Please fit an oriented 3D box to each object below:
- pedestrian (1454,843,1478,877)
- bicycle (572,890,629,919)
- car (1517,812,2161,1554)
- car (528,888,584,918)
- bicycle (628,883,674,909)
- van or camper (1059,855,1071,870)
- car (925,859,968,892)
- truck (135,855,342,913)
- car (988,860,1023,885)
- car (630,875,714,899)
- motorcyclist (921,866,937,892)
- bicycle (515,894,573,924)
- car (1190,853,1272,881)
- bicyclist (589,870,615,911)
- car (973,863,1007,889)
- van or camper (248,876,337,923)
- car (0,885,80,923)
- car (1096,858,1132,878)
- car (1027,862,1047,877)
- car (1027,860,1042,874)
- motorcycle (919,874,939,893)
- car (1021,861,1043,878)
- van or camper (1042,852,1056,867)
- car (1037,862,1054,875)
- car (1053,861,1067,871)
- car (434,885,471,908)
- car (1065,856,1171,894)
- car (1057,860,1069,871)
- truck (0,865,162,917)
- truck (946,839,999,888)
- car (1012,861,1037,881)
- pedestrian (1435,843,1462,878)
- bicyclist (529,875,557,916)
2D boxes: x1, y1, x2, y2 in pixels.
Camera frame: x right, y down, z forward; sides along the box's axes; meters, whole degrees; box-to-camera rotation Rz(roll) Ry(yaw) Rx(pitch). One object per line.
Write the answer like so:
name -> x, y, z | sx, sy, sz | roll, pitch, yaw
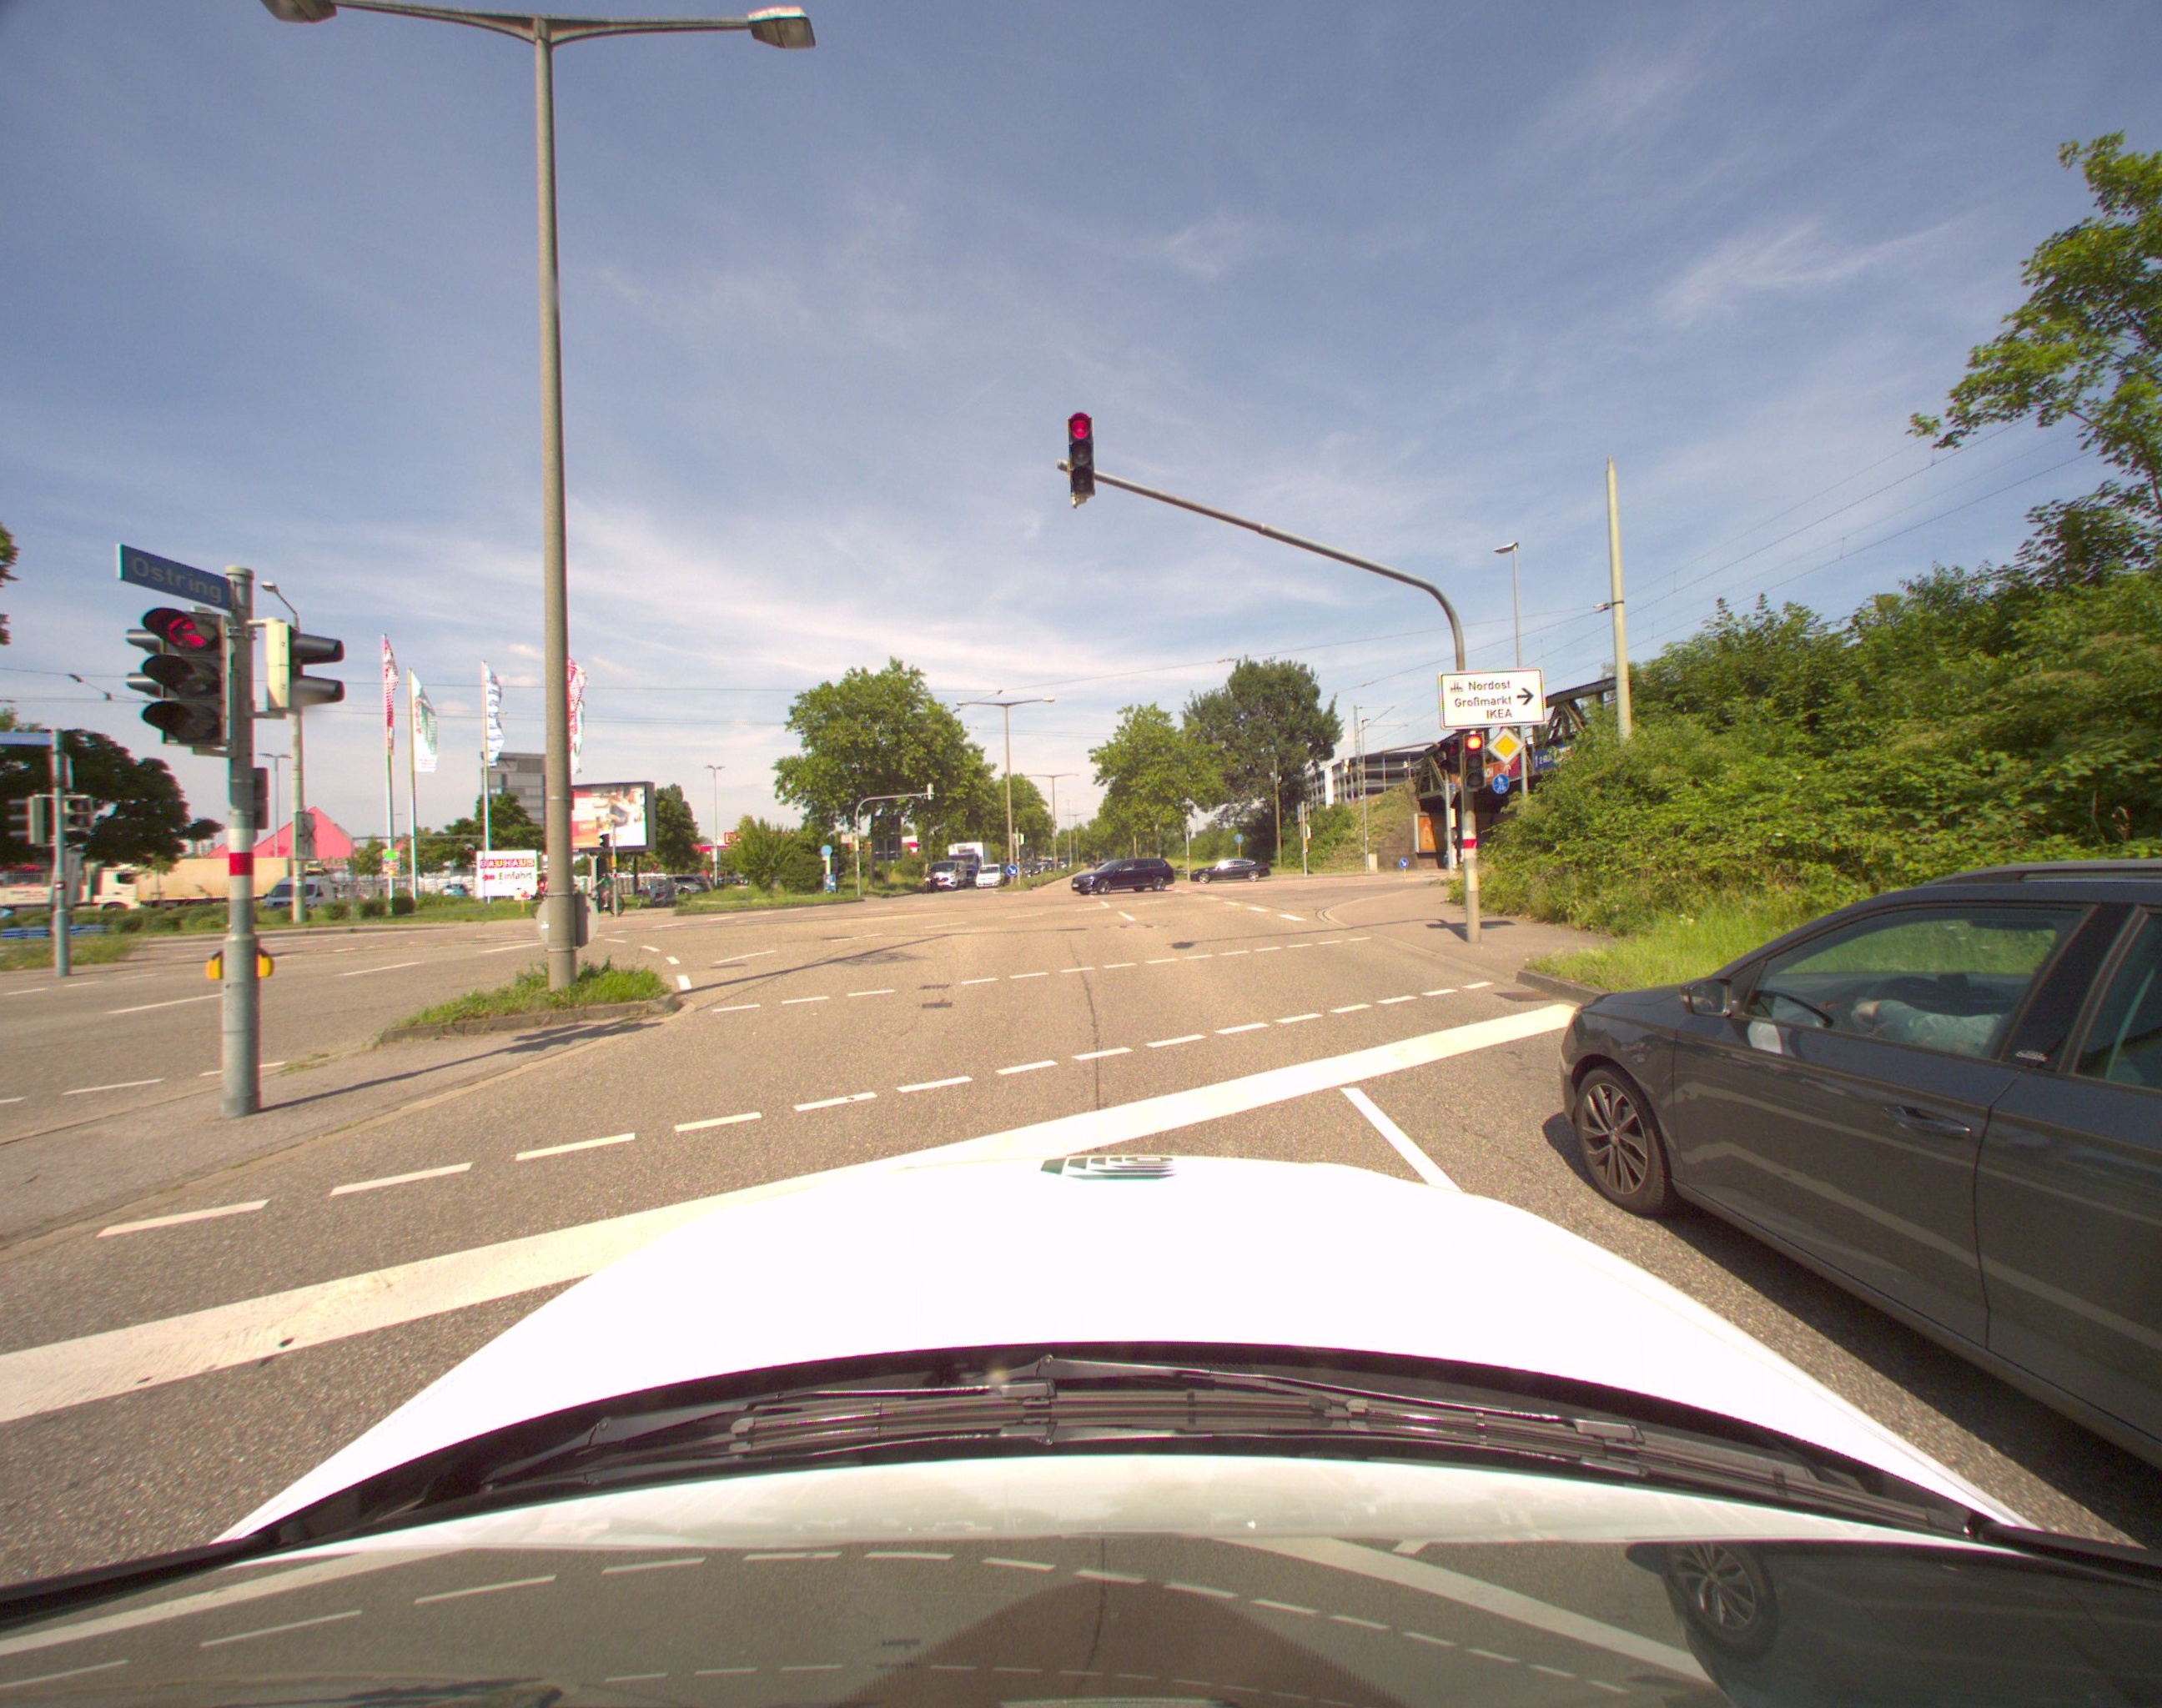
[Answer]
pedestrian -> 18.409, 0.273, 38.984 | 0.726, 1.579, 0.778 | -2, -1, 1
bicycle -> -17.856, 1.873, 30.322 | 0.412, 0.937, 2.007 | -2, -1, 18
car -> 2.964, 0.637, 2.083 | 1.667, 1.453, 4.038 | -1, 0, 2
car -> -31.684, 2.913, 49.111 | 2.212, 1.572, 4.522 | -1, -1, -41
bicycle -> -18.779, 1.838, 35.582 | 0.590, 1.037, 1.903 | -2, -1, 16
van or camper -> -2.735, 1.471, 140.986 | 1.932, 2.368, 5.397 | -3, -1, 0
car -> -8.770, 1.376, 53.566 | 1.970, 1.999, 5.030 | -2, 0, -1
truck -> -55.068, 1.881, 53.700 | 8.964, 3.311, 3.125 | -2, -1, -36
car -> -5.412, 1.311, 58.718 | 1.813, 1.646, 4.695 | -3, -1, 2
car -> -27.775, 2.224, 55.463 | 4.556, 1.414, 2.196 | -2, -1, -6
motorcyclist -> -9.068, 1.500, 48.603 | 0.740, 1.470, 0.988 | -2, 0, 1
bicycle -> -19.178, 1.951, 29.147 | 0.430, 0.937, 1.761 | -2, -1, 24
car -> 8.805, 0.727, 47.830 | 4.577, 1.463, 1.920 | -2, 0, 10
bicyclist -> -17.855, 1.365, 30.375 | 0.523, 1.491, 0.612 | -2, -1, 17
car -> -5.847, 1.410, 52.892 | 1.587, 1.477, 3.731 | -3, 0, 2
van or camper -> -41.036, 2.301, 42.525 | 2.204, 2.210, 5.462 | -2, -1, -32
car -> -77.032, 3.637, 59.851 | 2.396, 2.529, 6.066 | -2, -1, -31
car -> 2.642, 1.066, 63.922 | 1.820, 1.391, 4.283 | -2, 0, 16
car -> -4.573, 1.606, 85.145 | 1.682, 1.472, 3.816 | -3, 0, 2
car -> -6.762, 1.908, 119.253 | 1.682, 1.858, 4.038 | -3, -1, 2
motorcycle -> -9.030, 1.743, 48.506 | 0.685, 0.991, 2.218 | -2, 0, 2
car -> -4.776, 1.536, 79.510 | 1.682, 1.473, 4.220 | -4, 0, 2
van or camper -> -5.848, 1.002, 148.243 | 2.007, 2.587, 5.519 | -3, 0, 2
car -> -4.242, 1.708, 97.840 | 1.778, 1.489, 4.211 | -3, 0, 1
car -> -3.178, 1.843, 125.462 | 1.777, 1.459, 4.473 | -3, 0, 2
car -> -45.844, 3.072, 59.491 | 1.829, 1.572, 4.234 | -2, -1, -34
car -> 1.611, 0.871, 35.169 | 4.233, 1.443, 1.773 | -2, 0, -29
car -> -2.852, 1.856, 132.108 | 1.682, 1.510, 3.816 | -3, 0, 2
truck -> -64.973, 2.329, 50.793 | 9.655, 2.892, 2.895 | -2, -1, -35
truck -> -8.412, 0.684, 63.930 | 2.793, 3.471, 6.693 | -4, 0, 2
car -> -4.958, 1.461, 72.235 | 1.682, 1.586, 4.242 | -3, 0, 2
pedestrian -> 17.589, 0.299, 38.979 | 0.865, 1.611, 0.778 | -2, -1, 1
bicyclist -> -19.247, 1.491, 29.138 | 0.523, 1.414, 0.613 | -2, -1, 24
